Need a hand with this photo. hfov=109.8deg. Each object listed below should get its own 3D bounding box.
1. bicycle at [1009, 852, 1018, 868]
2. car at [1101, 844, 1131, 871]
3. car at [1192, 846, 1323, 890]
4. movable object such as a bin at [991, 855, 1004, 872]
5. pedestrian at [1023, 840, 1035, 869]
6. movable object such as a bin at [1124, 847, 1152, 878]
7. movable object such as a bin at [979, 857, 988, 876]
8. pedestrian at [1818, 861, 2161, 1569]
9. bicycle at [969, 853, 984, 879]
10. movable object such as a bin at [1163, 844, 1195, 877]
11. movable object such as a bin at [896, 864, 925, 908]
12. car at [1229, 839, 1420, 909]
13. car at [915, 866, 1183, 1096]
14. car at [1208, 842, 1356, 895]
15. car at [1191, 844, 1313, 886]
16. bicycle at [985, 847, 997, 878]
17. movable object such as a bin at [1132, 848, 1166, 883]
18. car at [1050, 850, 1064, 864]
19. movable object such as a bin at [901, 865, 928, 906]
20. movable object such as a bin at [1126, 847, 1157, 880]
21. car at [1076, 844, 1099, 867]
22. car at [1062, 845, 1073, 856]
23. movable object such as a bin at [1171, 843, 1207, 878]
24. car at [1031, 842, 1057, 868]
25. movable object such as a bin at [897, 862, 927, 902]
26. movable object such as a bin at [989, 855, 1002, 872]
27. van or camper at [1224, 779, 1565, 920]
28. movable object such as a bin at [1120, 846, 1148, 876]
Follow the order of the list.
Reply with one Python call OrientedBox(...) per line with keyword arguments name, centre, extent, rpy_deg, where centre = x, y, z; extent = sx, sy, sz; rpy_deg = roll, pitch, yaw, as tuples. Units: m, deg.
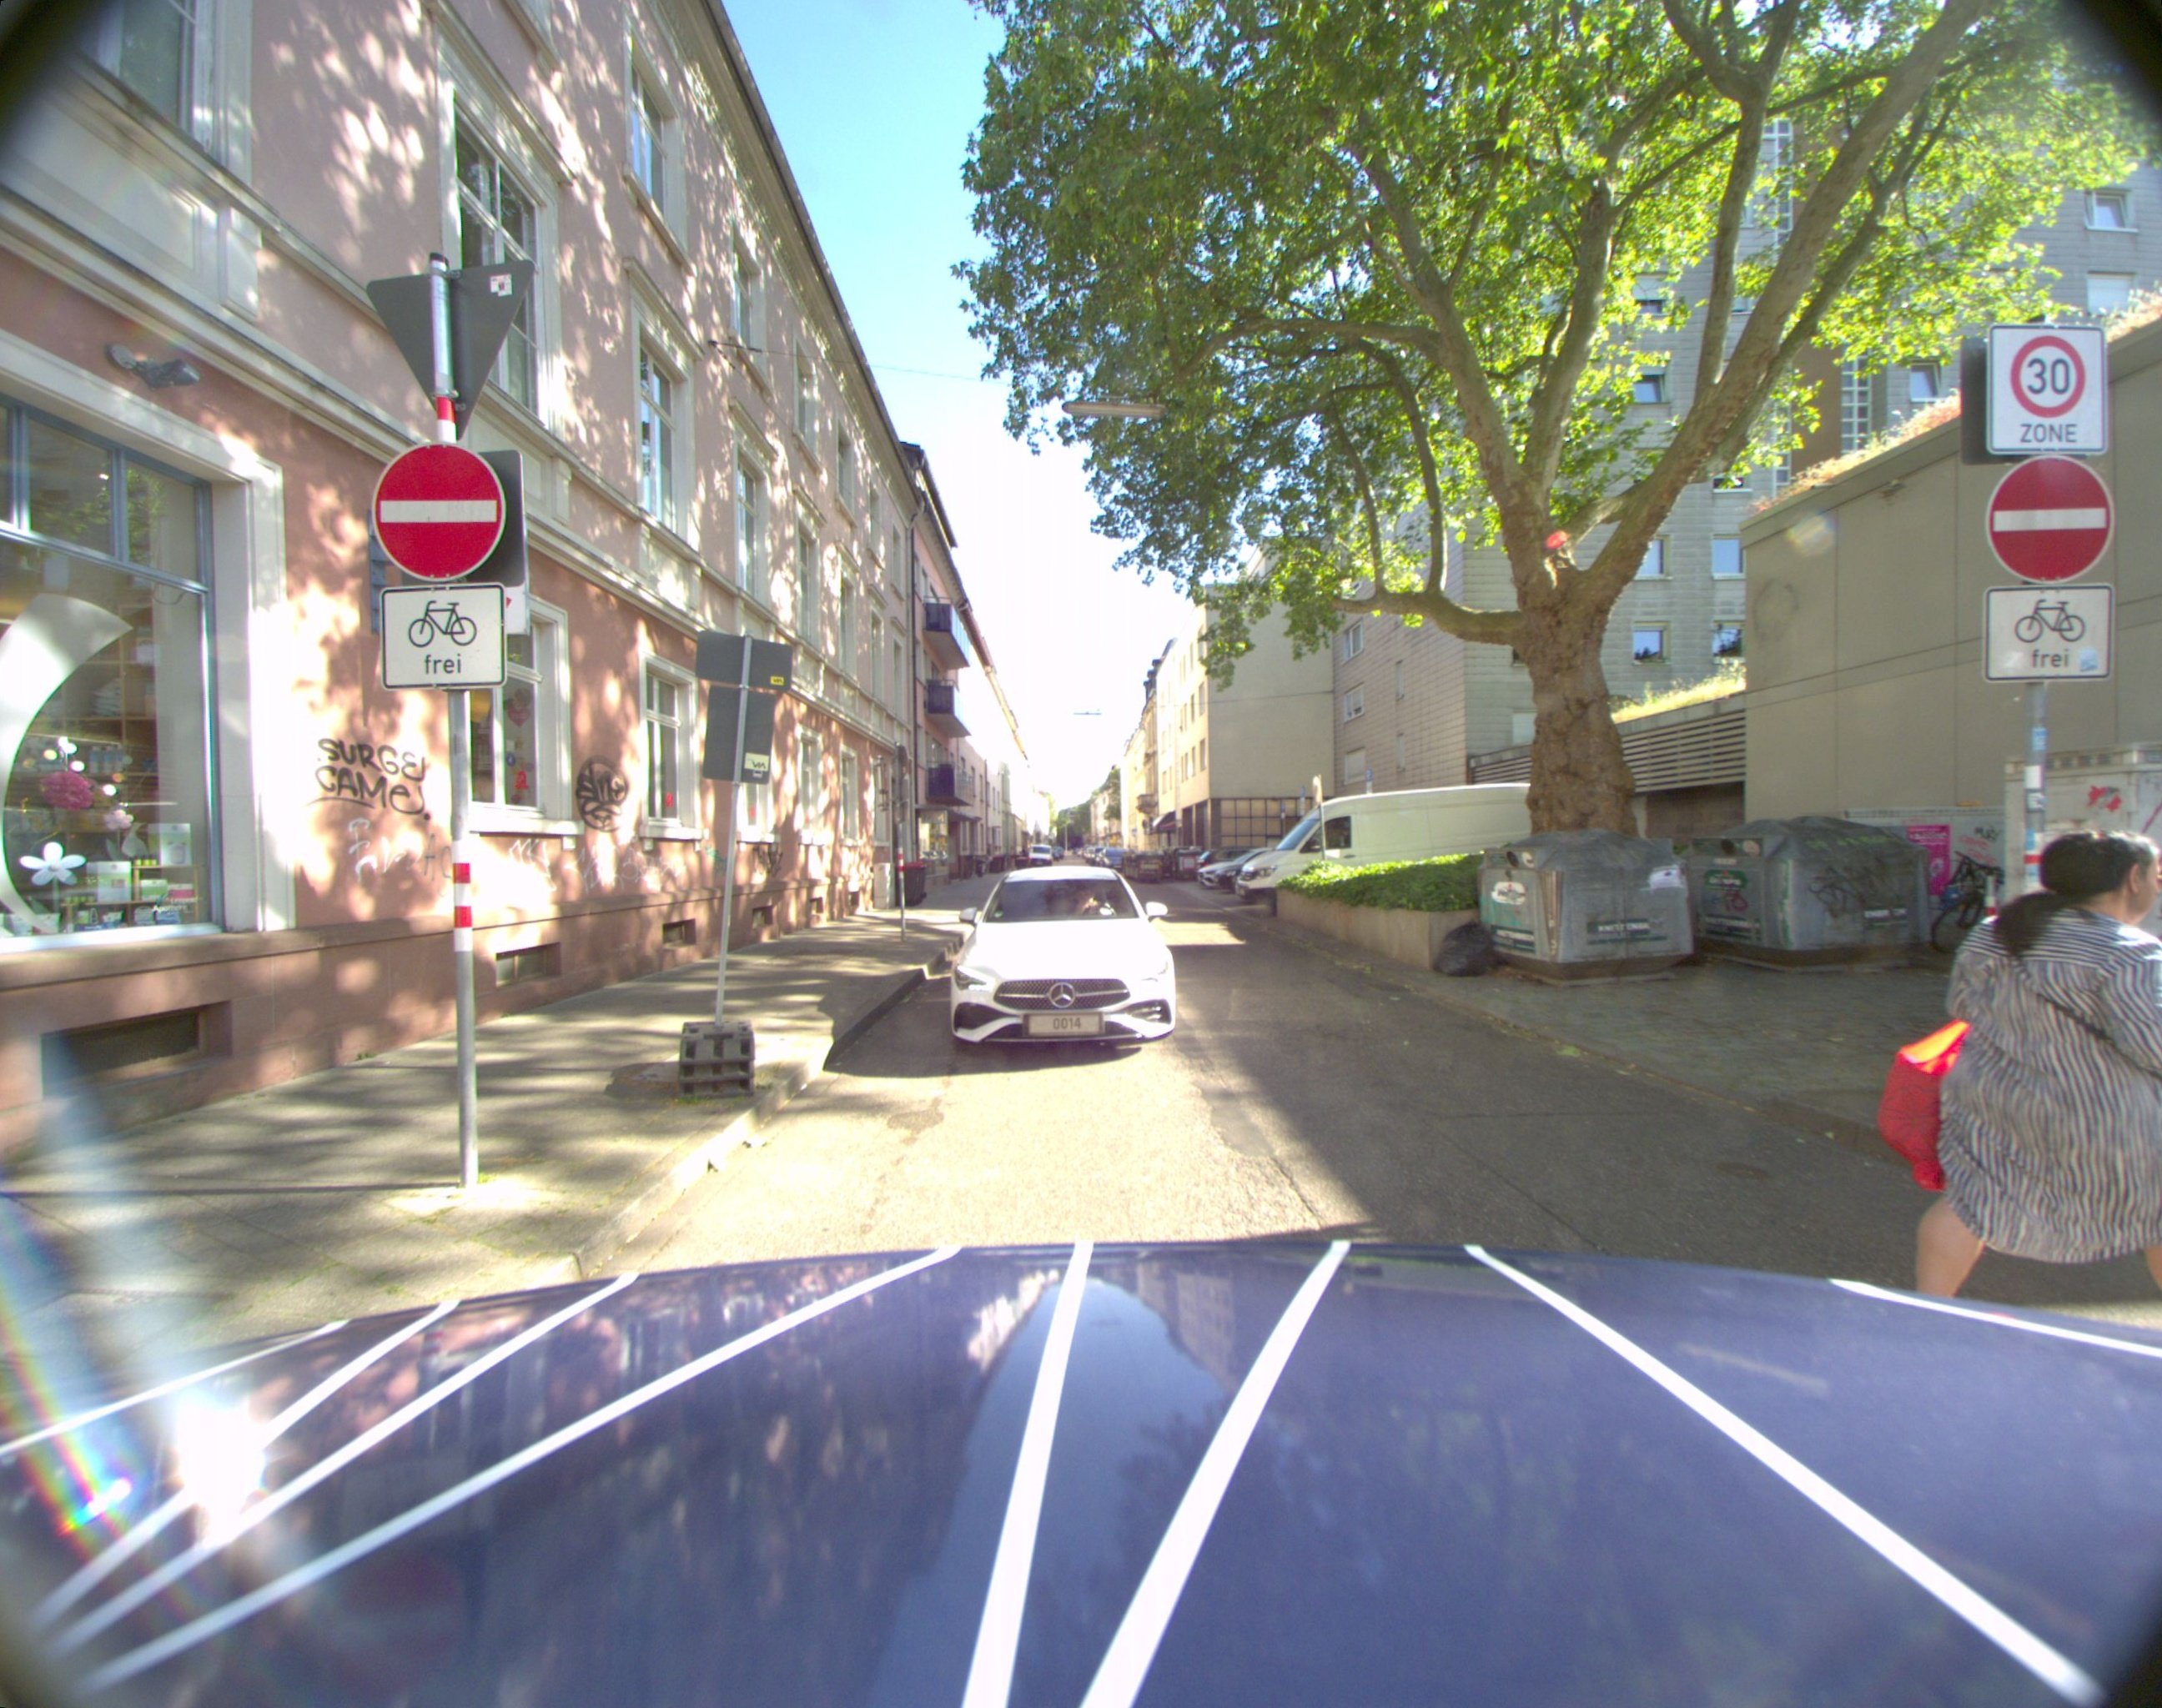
OrientedBox(name="bicycle", centre=(-4.746, 0.443, 53.487), extent=(0.490, 1.090, 1.932), rpy_deg=(-1, 1, 0))
OrientedBox(name="car", centre=(2.254, 0.187, 50.091), extent=(1.765, 1.698, 4.327), rpy_deg=(-1, 1, 0))
OrientedBox(name="car", centre=(6.435, 0.494, 27.900), extent=(4.417, 1.454, 1.599), rpy_deg=(-1, 1, -7))
OrientedBox(name="movable object such as a bin", centre=(-5.070, 0.571, 45.996), extent=(0.717, 0.996, 0.546), rpy_deg=(2, 1, -2))
OrientedBox(name="pedestrian", centre=(-3.689, 0.025, 53.932), extent=(0.761, 2.002, 0.771), rpy_deg=(-1, 1, 0))
OrientedBox(name="movable object such as a bin", centre=(2.844, 0.405, 38.126), extent=(1.222, 1.492, 1.559), rpy_deg=(-1, 1, -3))
OrientedBox(name="movable object such as a bin", centre=(-4.935, 0.652, 38.445), extent=(0.416, 0.935, 0.302), rpy_deg=(2, 1, -2))
OrientedBox(name="pedestrian", centre=(2.810, 0.815, 2.019), extent=(0.846, 1.564, 0.846), rpy_deg=(-2, 0, -4))
OrientedBox(name="bicycle", centre=(-4.921, 0.550, 35.916), extent=(0.402, 1.144, 2.024), rpy_deg=(-1, 1, 0))
OrientedBox(name="movable object such as a bin", centre=(4.488, 0.291, 34.953), extent=(1.222, 1.492, 1.517), rpy_deg=(-1, 1, -3))
OrientedBox(name="movable object such as a bin", centre=(-4.371, 0.824, 19.494), extent=(0.570, 1.078, 0.654), rpy_deg=(2, 1, -2))
OrientedBox(name="car", centre=(6.306, 0.497, 19.996), extent=(4.415, 1.525, 1.698), rpy_deg=(-3, 1, -1))
OrientedBox(name="car", centre=(-0.222, 0.950, 7.733), extent=(1.862, 1.448, 4.562), rpy_deg=(-3, 1, 0))
OrientedBox(name="car", centre=(6.632, 0.460, 25.304), extent=(4.417, 1.607, 1.698), rpy_deg=(-1, 1, -7))
OrientedBox(name="car", centre=(6.759, 0.409, 30.229), extent=(4.417, 1.524, 1.698), rpy_deg=(-1, 1, -7))
OrientedBox(name="bicycle", centre=(-5.143, 0.495, 43.646), extent=(0.402, 1.726, 2.106), rpy_deg=(-1, 1, 0))
OrientedBox(name="movable object such as a bin", centre=(3.026, 0.498, 34.116), extent=(1.241, 1.492, 1.876), rpy_deg=(-1, 1, -3))
OrientedBox(name="car", centre=(-3.094, 0.372, 98.047), extent=(1.765, 1.698, 4.327), rpy_deg=(-1, 1, -1))
OrientedBox(name="movable object such as a bin", centre=(-4.399, 0.833, 20.130), extent=(0.570, 1.052, 0.611), rpy_deg=(2, 1, -2))
OrientedBox(name="movable object such as a bin", centre=(2.875, 0.434, 36.323), extent=(1.247, 1.492, 1.924), rpy_deg=(-1, 1, -3))
OrientedBox(name="car", centre=(0.518, 0.104, 60.634), extent=(1.765, 1.698, 4.327), rpy_deg=(-1, 1, 0))
OrientedBox(name="car", centre=(-2.226, -0.581, 123.483), extent=(1.765, 1.698, 4.327), rpy_deg=(-1, 1, -1))
OrientedBox(name="movable object such as a bin", centre=(4.757, 0.294, 33.544), extent=(1.328, 1.492, 1.194), rpy_deg=(-1, 1, -3))
OrientedBox(name="car", centre=(-2.861, 0.047, 59.633), extent=(1.765, 1.843, 4.326), rpy_deg=(-1, 1, 0))
OrientedBox(name="movable object such as a bin", centre=(-4.863, 0.801, 21.925), extent=(0.718, 1.078, 0.618), rpy_deg=(2, 1, -2))
OrientedBox(name="movable object such as a bin", centre=(-5.101, 0.558, 45.417), extent=(0.717, 0.996, 0.546), rpy_deg=(2, 1, -2))
OrientedBox(name="van or camper", centre=(7.027, -0.095, 17.579), extent=(6.923, 2.559, 2.000), rpy_deg=(-4, 1, 0))
OrientedBox(name="movable object such as a bin", centre=(2.759, 0.358, 39.709), extent=(1.222, 1.492, 1.559), rpy_deg=(-1, 1, -3))
